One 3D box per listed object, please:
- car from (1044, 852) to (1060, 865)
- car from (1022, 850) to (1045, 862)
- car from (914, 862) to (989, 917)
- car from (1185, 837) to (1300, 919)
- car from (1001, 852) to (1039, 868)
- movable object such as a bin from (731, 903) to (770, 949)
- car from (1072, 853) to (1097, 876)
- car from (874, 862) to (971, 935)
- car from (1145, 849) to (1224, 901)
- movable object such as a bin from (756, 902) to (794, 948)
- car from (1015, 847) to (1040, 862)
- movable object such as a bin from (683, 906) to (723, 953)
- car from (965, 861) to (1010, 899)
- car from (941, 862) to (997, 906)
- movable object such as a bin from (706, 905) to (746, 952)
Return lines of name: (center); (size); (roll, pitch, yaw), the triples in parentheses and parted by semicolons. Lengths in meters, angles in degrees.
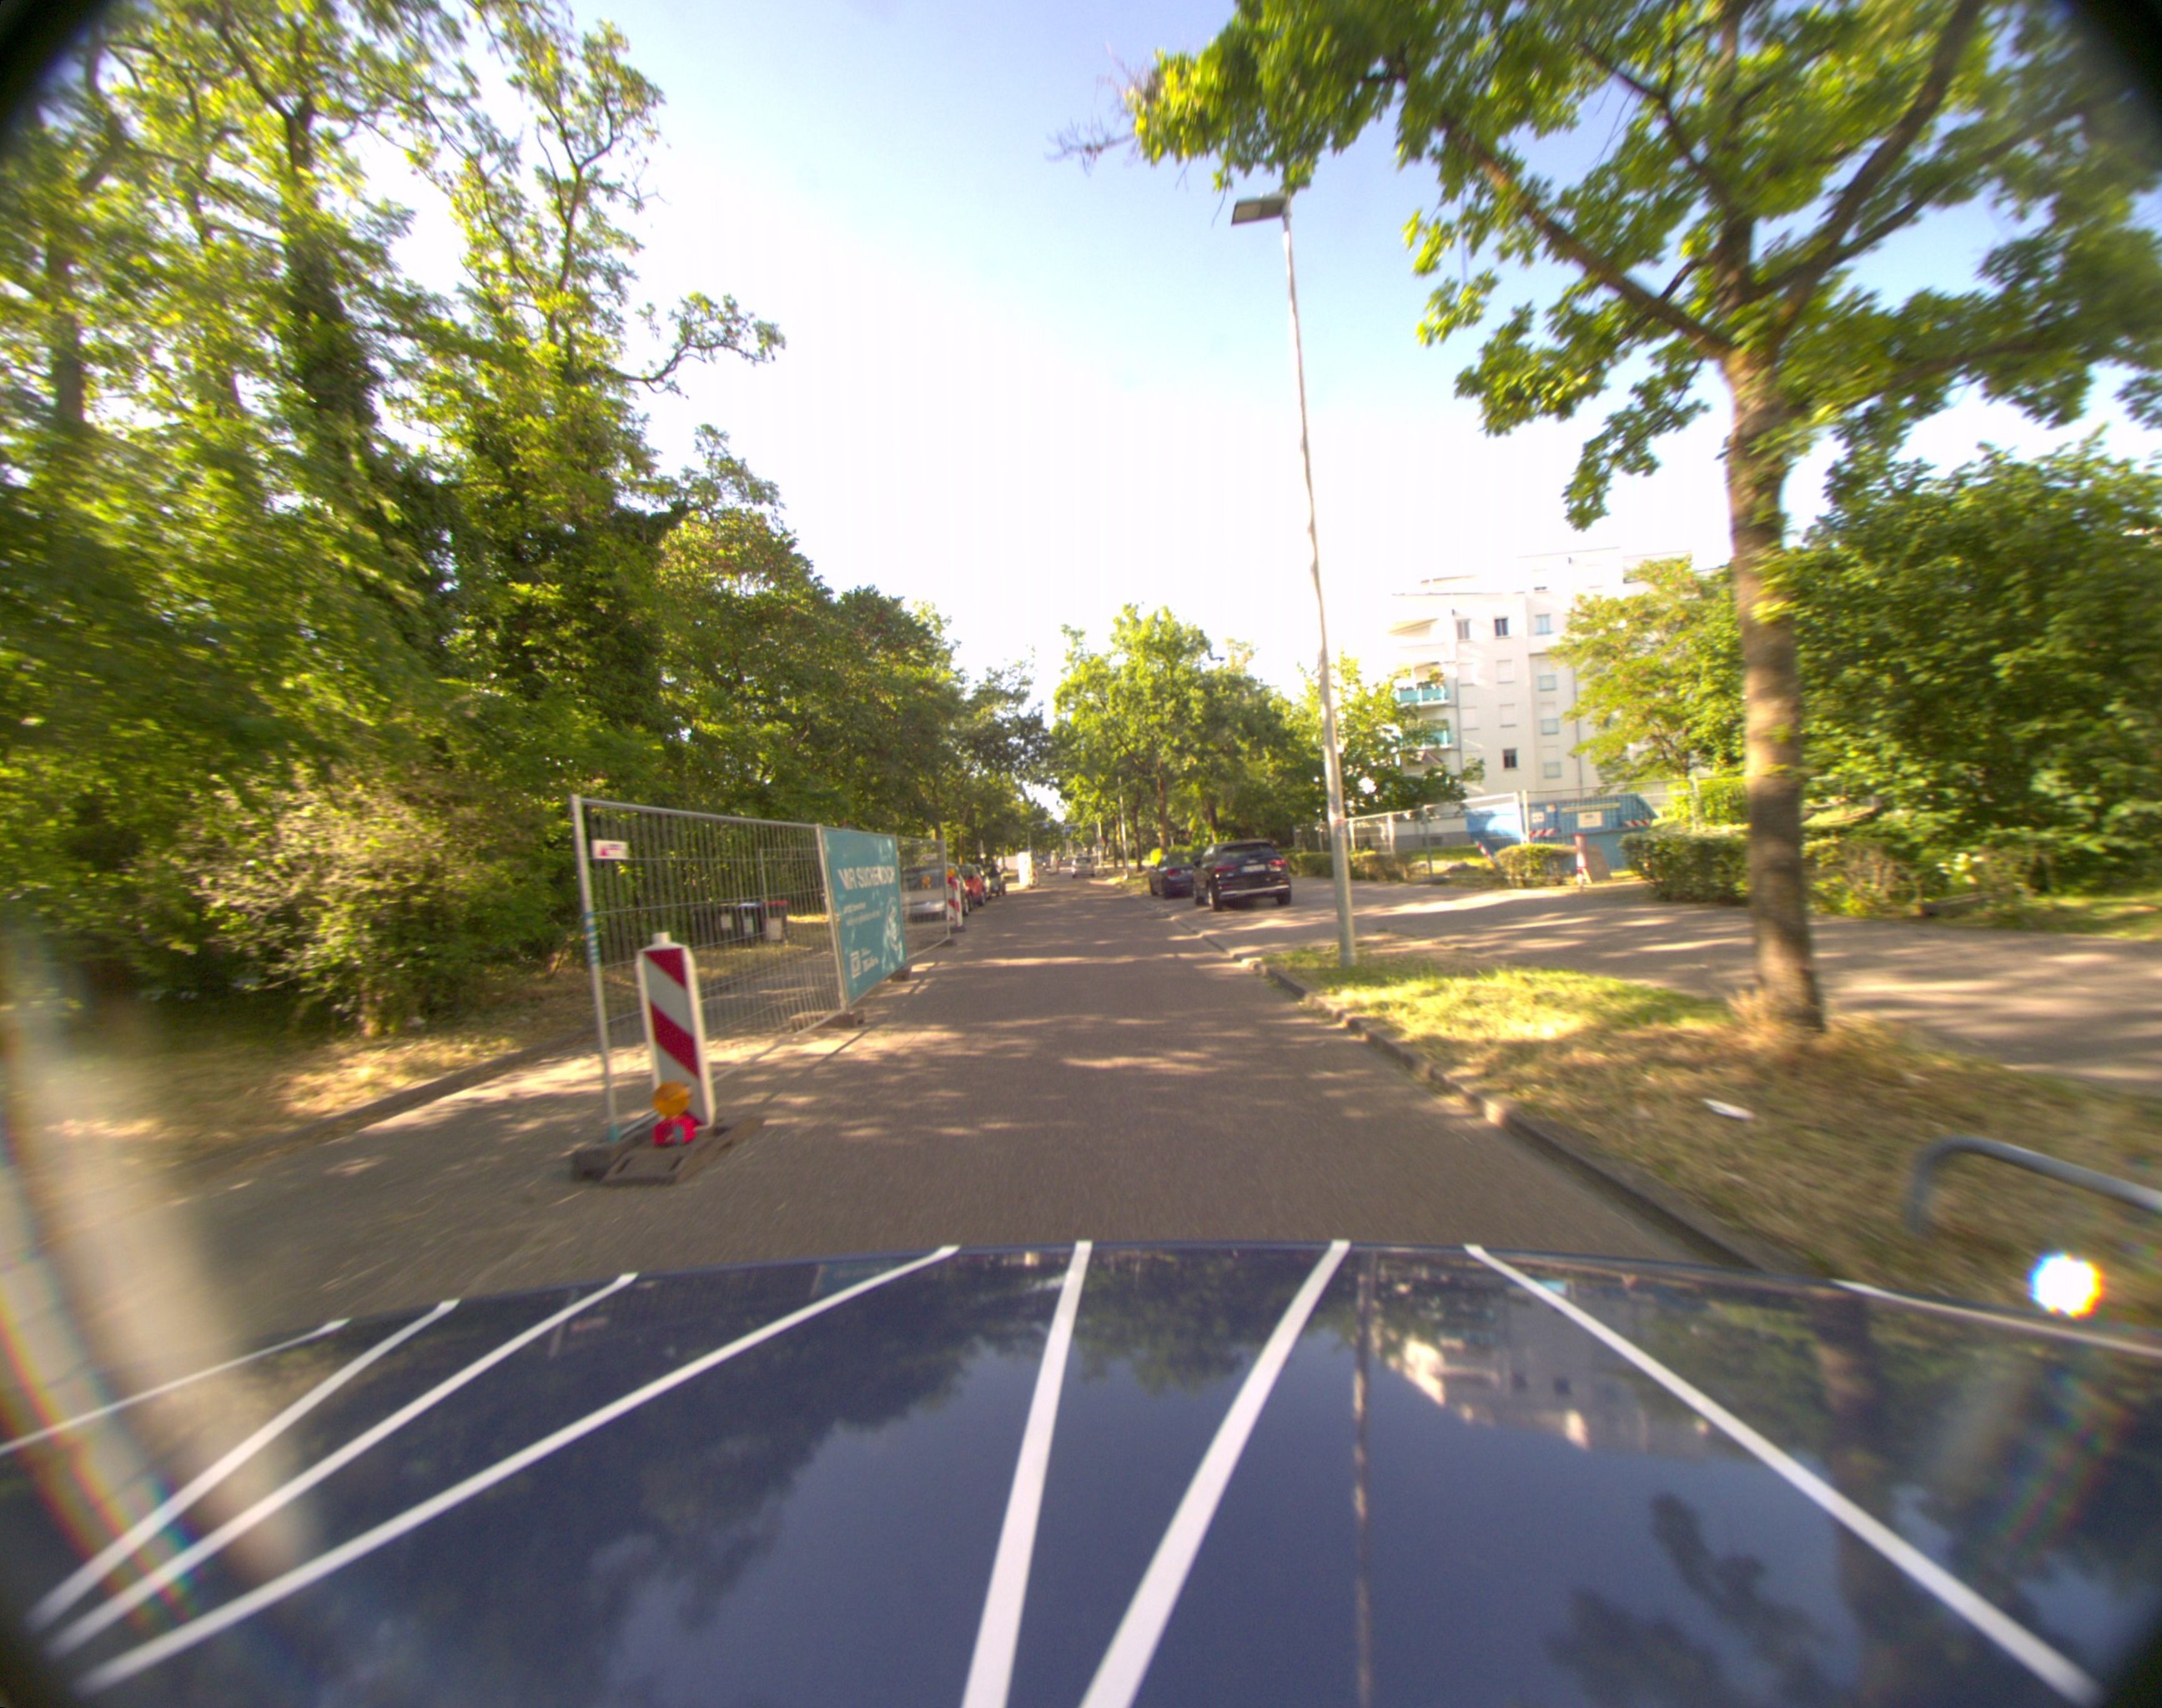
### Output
car: (-4.257, 0.652, 112.372); (1.998, 1.871, 4.000); (-2, 1, 1)
car: (-8.838, 0.437, 141.377); (4.245, 1.993, 1.565); (-3, 0, -4)
car: (-4.351, 1.149, 26.121); (1.683, 1.565, 4.066); (-5, 0, 1)
car: (3.802, 0.515, 18.597); (1.780, 1.612, 4.220); (-6, 0, 0)
car: (-8.704, 0.802, 108.694); (5.269, 1.993, 2.000); (-3, 0, -2)
movable object such as a bin: (-6.752, 1.468, 15.545); (0.485, 0.856, 0.559); (-4, 1, -2)
car: (0.231, 0.723, 56.019); (1.664, 1.587, 4.007); (-2, 0, -2)
car: (-4.232, 1.135, 20.878); (1.683, 1.612, 4.137); (-5, 0, 0)
car: (3.316, 0.642, 25.107); (1.721, 1.424, 4.136); (-6, 0, -3)
movable object such as a bin: (-6.261, 1.451, 15.570); (0.485, 0.856, 0.559); (-4, 1, -2)
car: (-9.546, 0.057, 136.110); (4.412, 2.531, 1.888); (-3, 0, -4)
movable object such as a bin: (-7.742, 1.537, 15.570); (0.485, 0.856, 0.559); (-4, 1, -2)
car: (-4.318, 1.183, 35.448); (1.497, 1.500, 2.677); (-5, 0, 3)
car: (-4.527, 1.159, 31.112); (1.716, 1.500, 4.148); (-5, 0, -2)
movable object such as a bin: (-7.246, 1.516, 15.527); (0.485, 0.856, 0.559); (-4, 1, -2)
